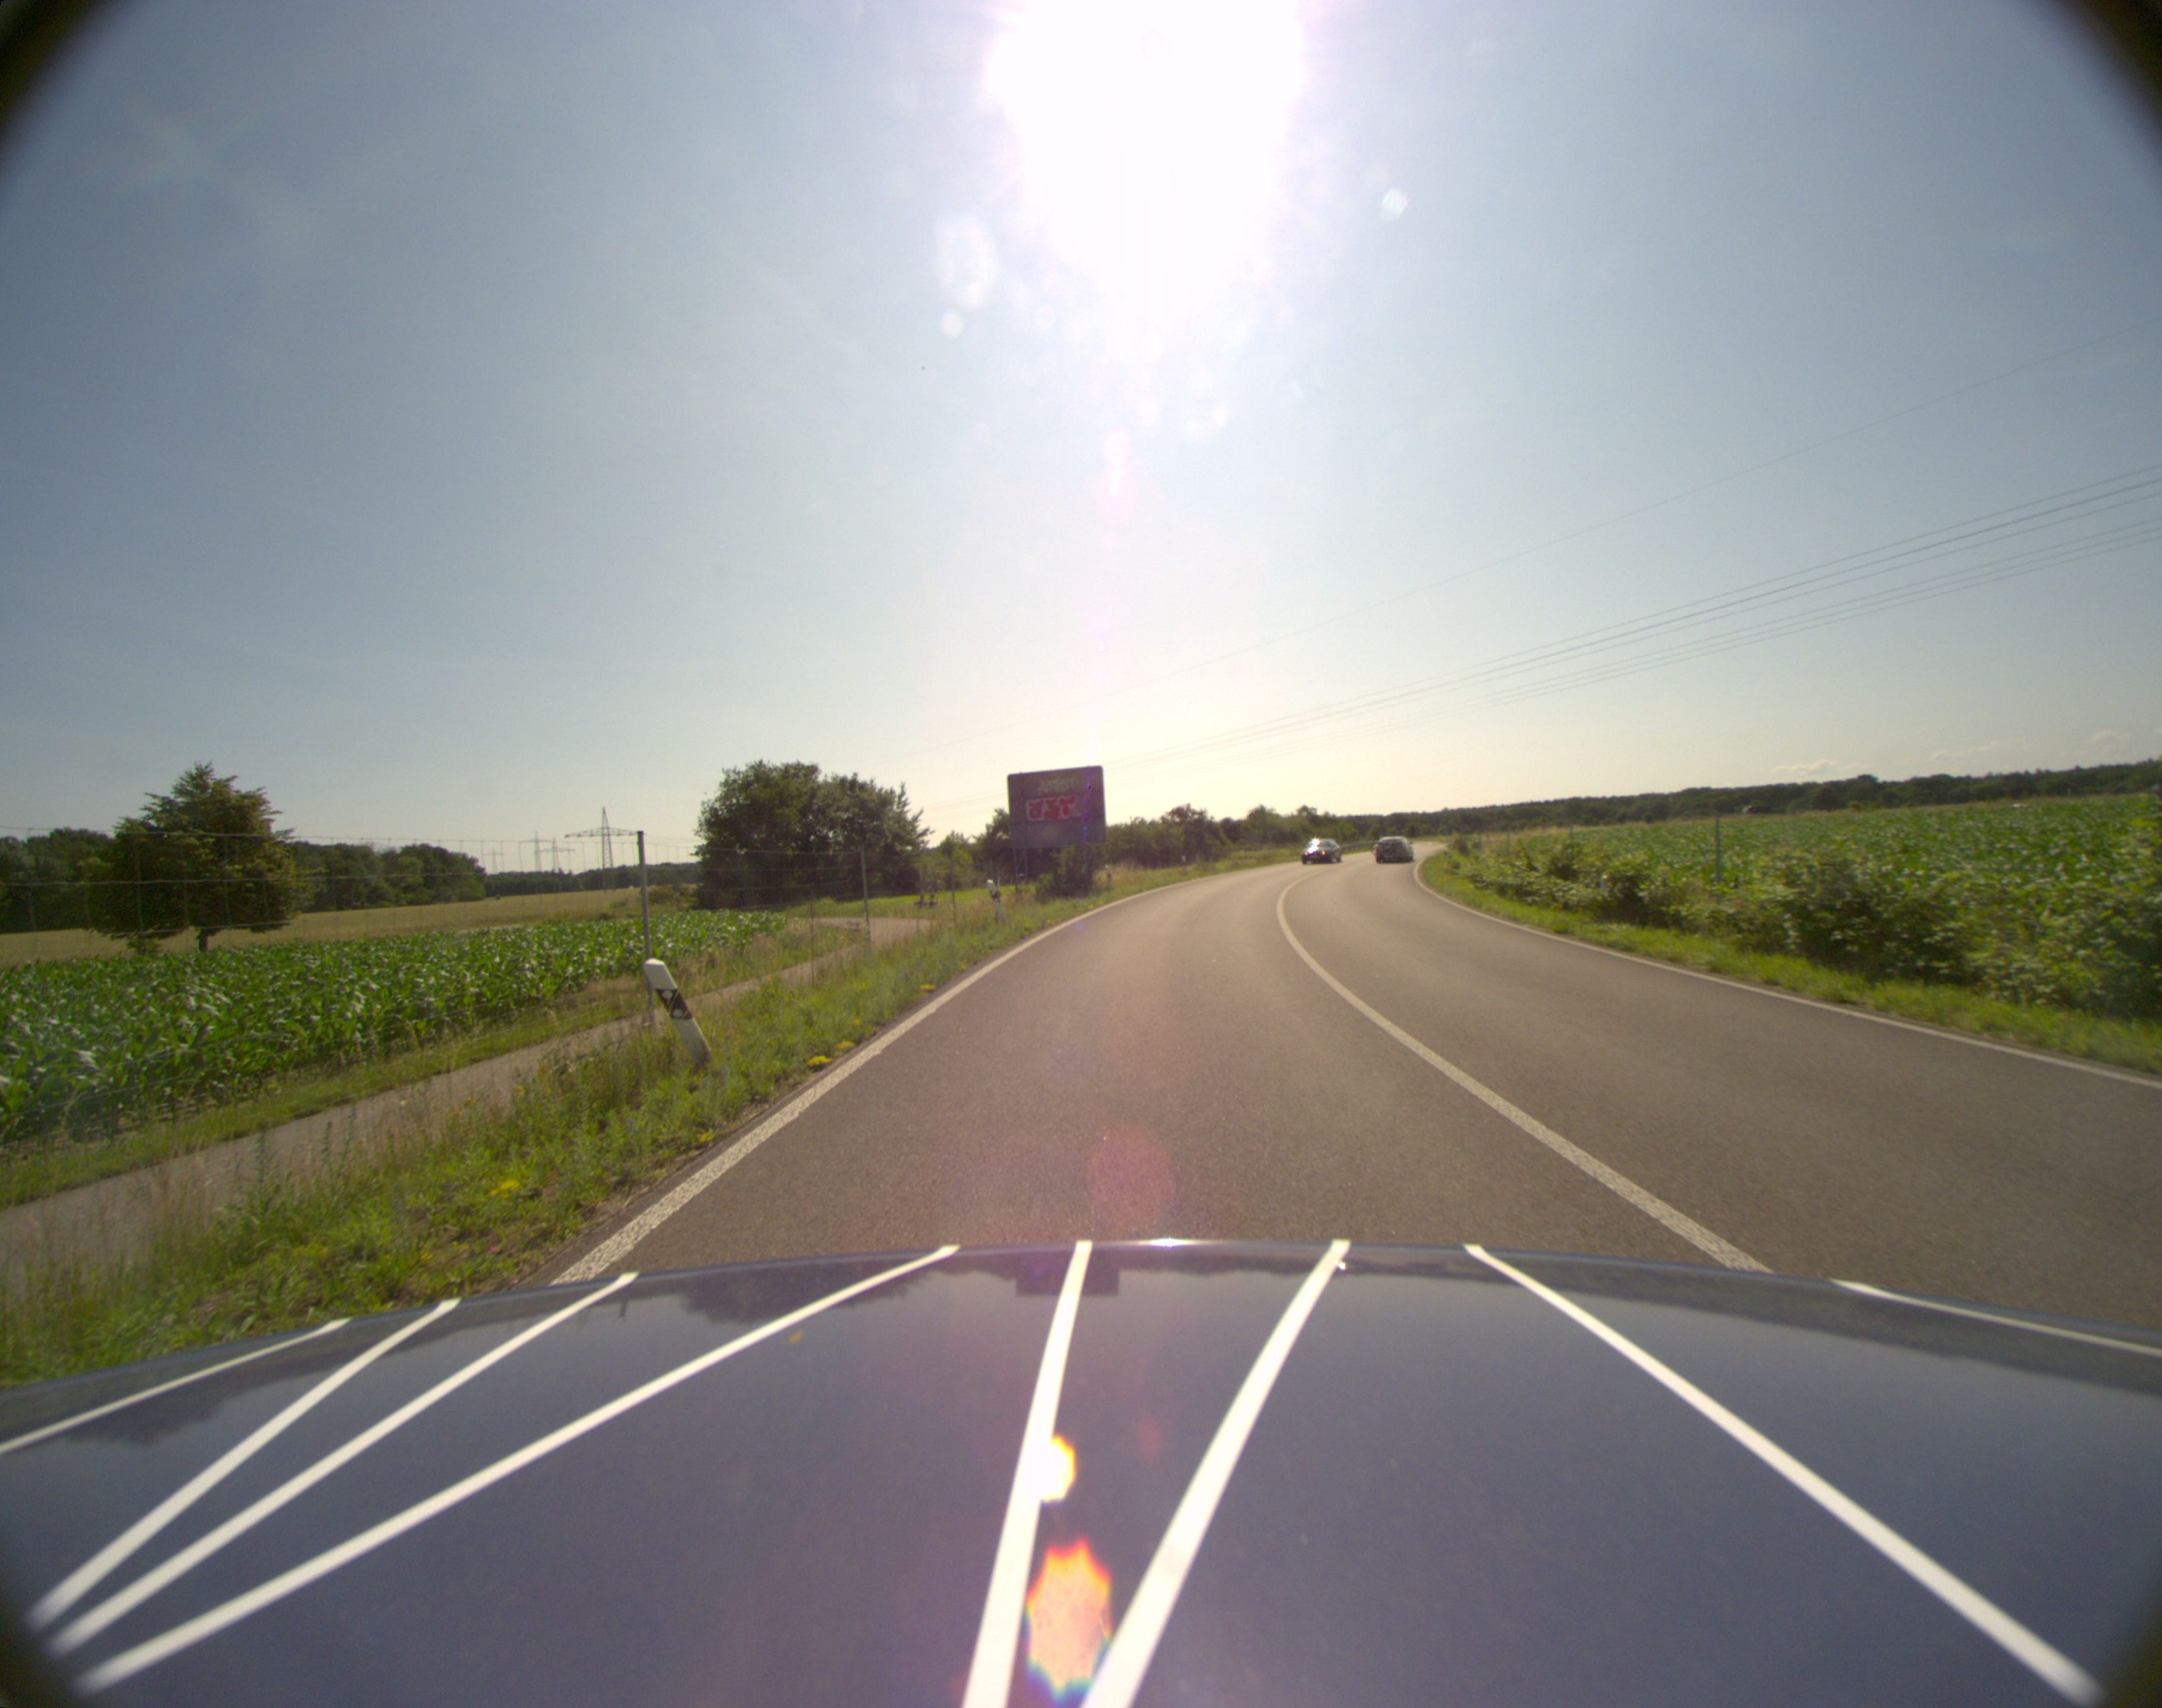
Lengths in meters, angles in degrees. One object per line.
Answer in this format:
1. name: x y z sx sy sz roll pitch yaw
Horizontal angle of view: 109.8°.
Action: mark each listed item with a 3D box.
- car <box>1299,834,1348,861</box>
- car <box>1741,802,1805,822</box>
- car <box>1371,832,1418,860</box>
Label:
1. car: 14.668 -0.417 45.863 1.883 1.448 4.082 -2 1 31
2. car: 68.824 -4.211 75.647 4.253 1.697 1.991 -3 3 17
3. car: 18.263 -0.509 44.085 1.867 1.472 5.144 0 2 30
